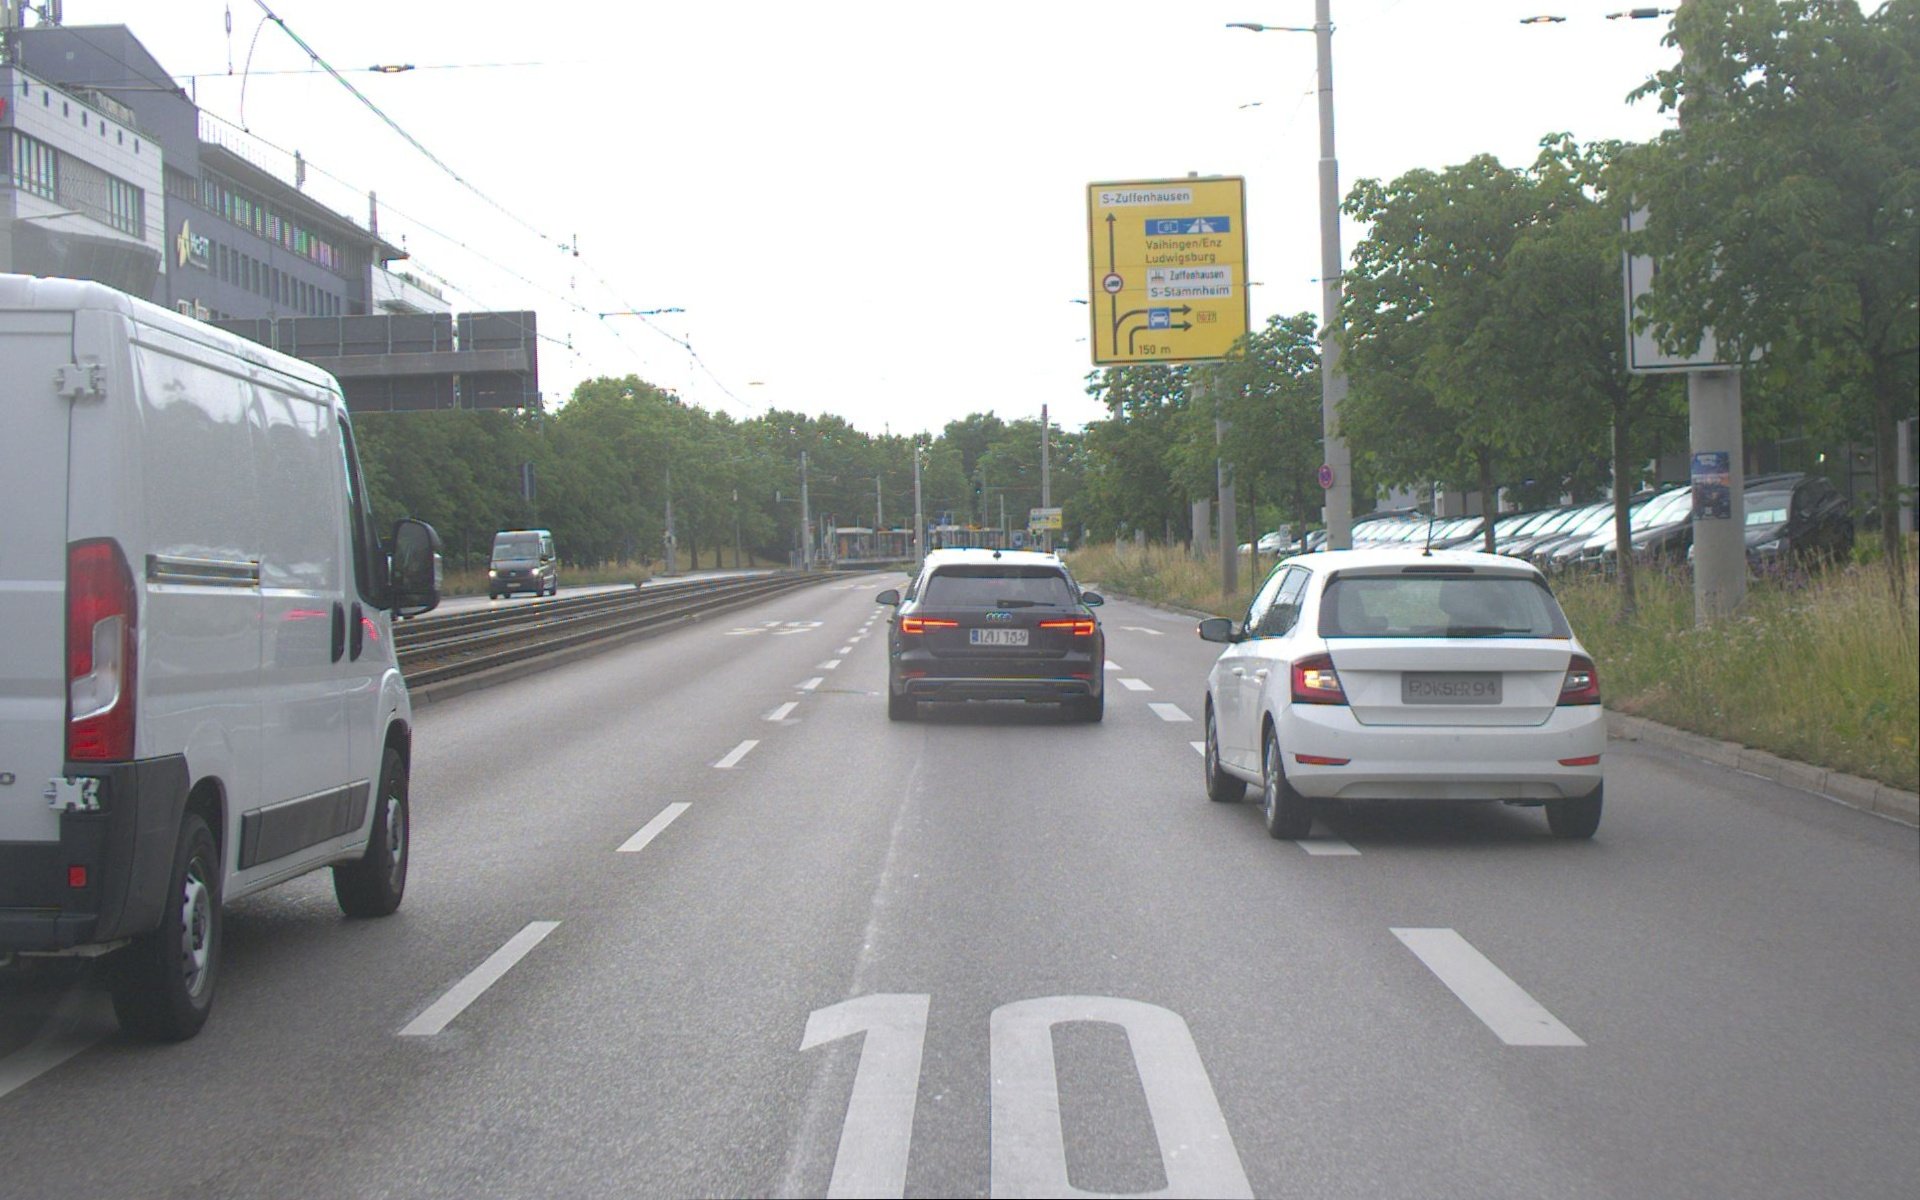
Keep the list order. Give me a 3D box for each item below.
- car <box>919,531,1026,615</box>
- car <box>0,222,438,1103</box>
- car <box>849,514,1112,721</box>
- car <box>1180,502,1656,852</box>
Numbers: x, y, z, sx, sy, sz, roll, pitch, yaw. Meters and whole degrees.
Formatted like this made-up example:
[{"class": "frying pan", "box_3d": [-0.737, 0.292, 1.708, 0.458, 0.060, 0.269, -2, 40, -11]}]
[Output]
[{"class": "car", "box_3d": [0.240, -0.483, 63.454, 1.894, 1.460, 3.909, -1, 0, 0]}, {"class": "car", "box_3d": [-3.361, 0.085, 11.414, 2.445, 2.286, 4.905, 2, 1, 0]}, {"class": "car", "box_3d": [0.103, 0.142, 29.411, 1.993, 1.632, 4.000, 0, 0, -3]}, {"class": "car", "box_3d": [2.330, 0.369, 18.499, 1.829, 1.650, 4.000, 1, 0, -3]}]
